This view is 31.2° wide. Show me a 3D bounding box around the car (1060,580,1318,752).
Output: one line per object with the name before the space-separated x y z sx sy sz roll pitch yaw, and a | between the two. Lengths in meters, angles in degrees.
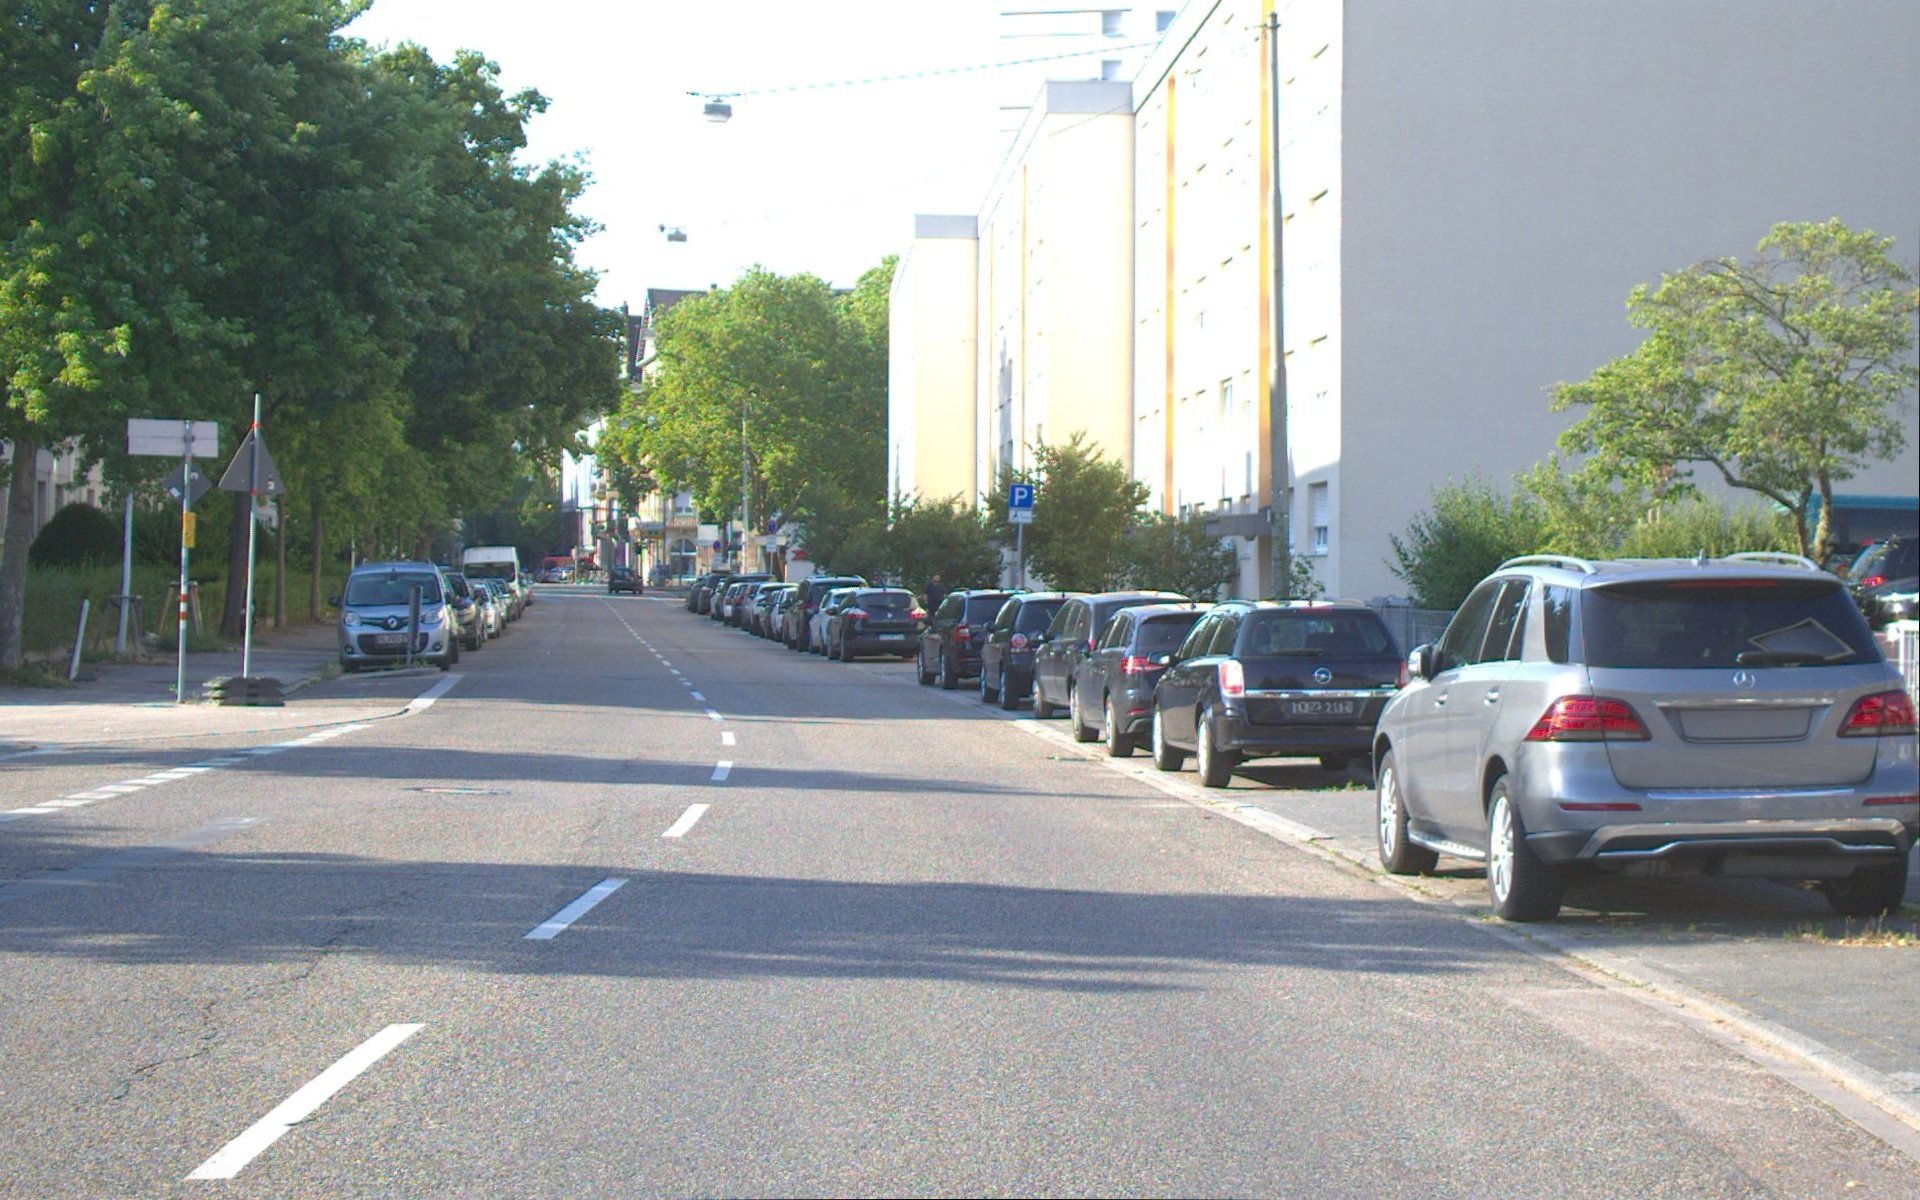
car | 2.218 0.649 34.617 1.901 1.524 4.811 3 -1 -4

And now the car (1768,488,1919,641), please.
car | 12.553 -0.378 43.593 3.986 1.788 2.000 3 -1 -6

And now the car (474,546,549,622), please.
car | -15.766 -0.531 121.128 2.357 2.437 6.166 3 -1 -6

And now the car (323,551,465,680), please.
car | -9.274 0.272 56.660 1.841 1.890 4.487 5 -1 -5

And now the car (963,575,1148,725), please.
car | 1.185 0.648 44.863 1.901 1.773 4.582 3 -1 -4

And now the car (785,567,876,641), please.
car | -3.074 0.111 80.724 1.771 1.672 4.647 -1 0 -6

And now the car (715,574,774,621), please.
car | -7.497 -0.058 119.396 1.837 1.496 4.173 3 -1 -5

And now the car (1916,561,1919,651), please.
car | 12.344 -0.260 35.965 3.986 1.788 2.000 3 -1 -6

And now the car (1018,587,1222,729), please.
car | 1.794 0.630 39.777 1.650 1.431 3.961 1 2 -8

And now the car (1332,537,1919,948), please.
car | 3.346 0.668 17.907 1.921 1.773 4.811 -2 -1 -4

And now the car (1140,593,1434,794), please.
car | 2.638 0.746 28.716 1.741 1.535 4.440 0 -1 -4

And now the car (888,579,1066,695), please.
car | 0.196 0.550 51.850 1.886 1.556 4.947 -3 0 -8

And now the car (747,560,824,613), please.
car | -5.229 -0.381 102.867 1.873 1.438 4.001 3 -1 -8

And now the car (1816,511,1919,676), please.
car | 12.044 0.021 39.073 3.986 1.788 2.000 3 -1 -4

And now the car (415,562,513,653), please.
car | -10.376 0.172 71.938 1.873 1.753 4.690 3 -1 -8

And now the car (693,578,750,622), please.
car | -9.853 -0.026 141.848 1.897 1.645 4.344 5 0 -8

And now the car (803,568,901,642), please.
car | -2.391 0.131 75.504 1.771 1.503 4.001 3 -1 -6

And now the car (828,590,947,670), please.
car | -1.510 0.614 69.696 1.798 1.502 4.622 3 -1 -8
